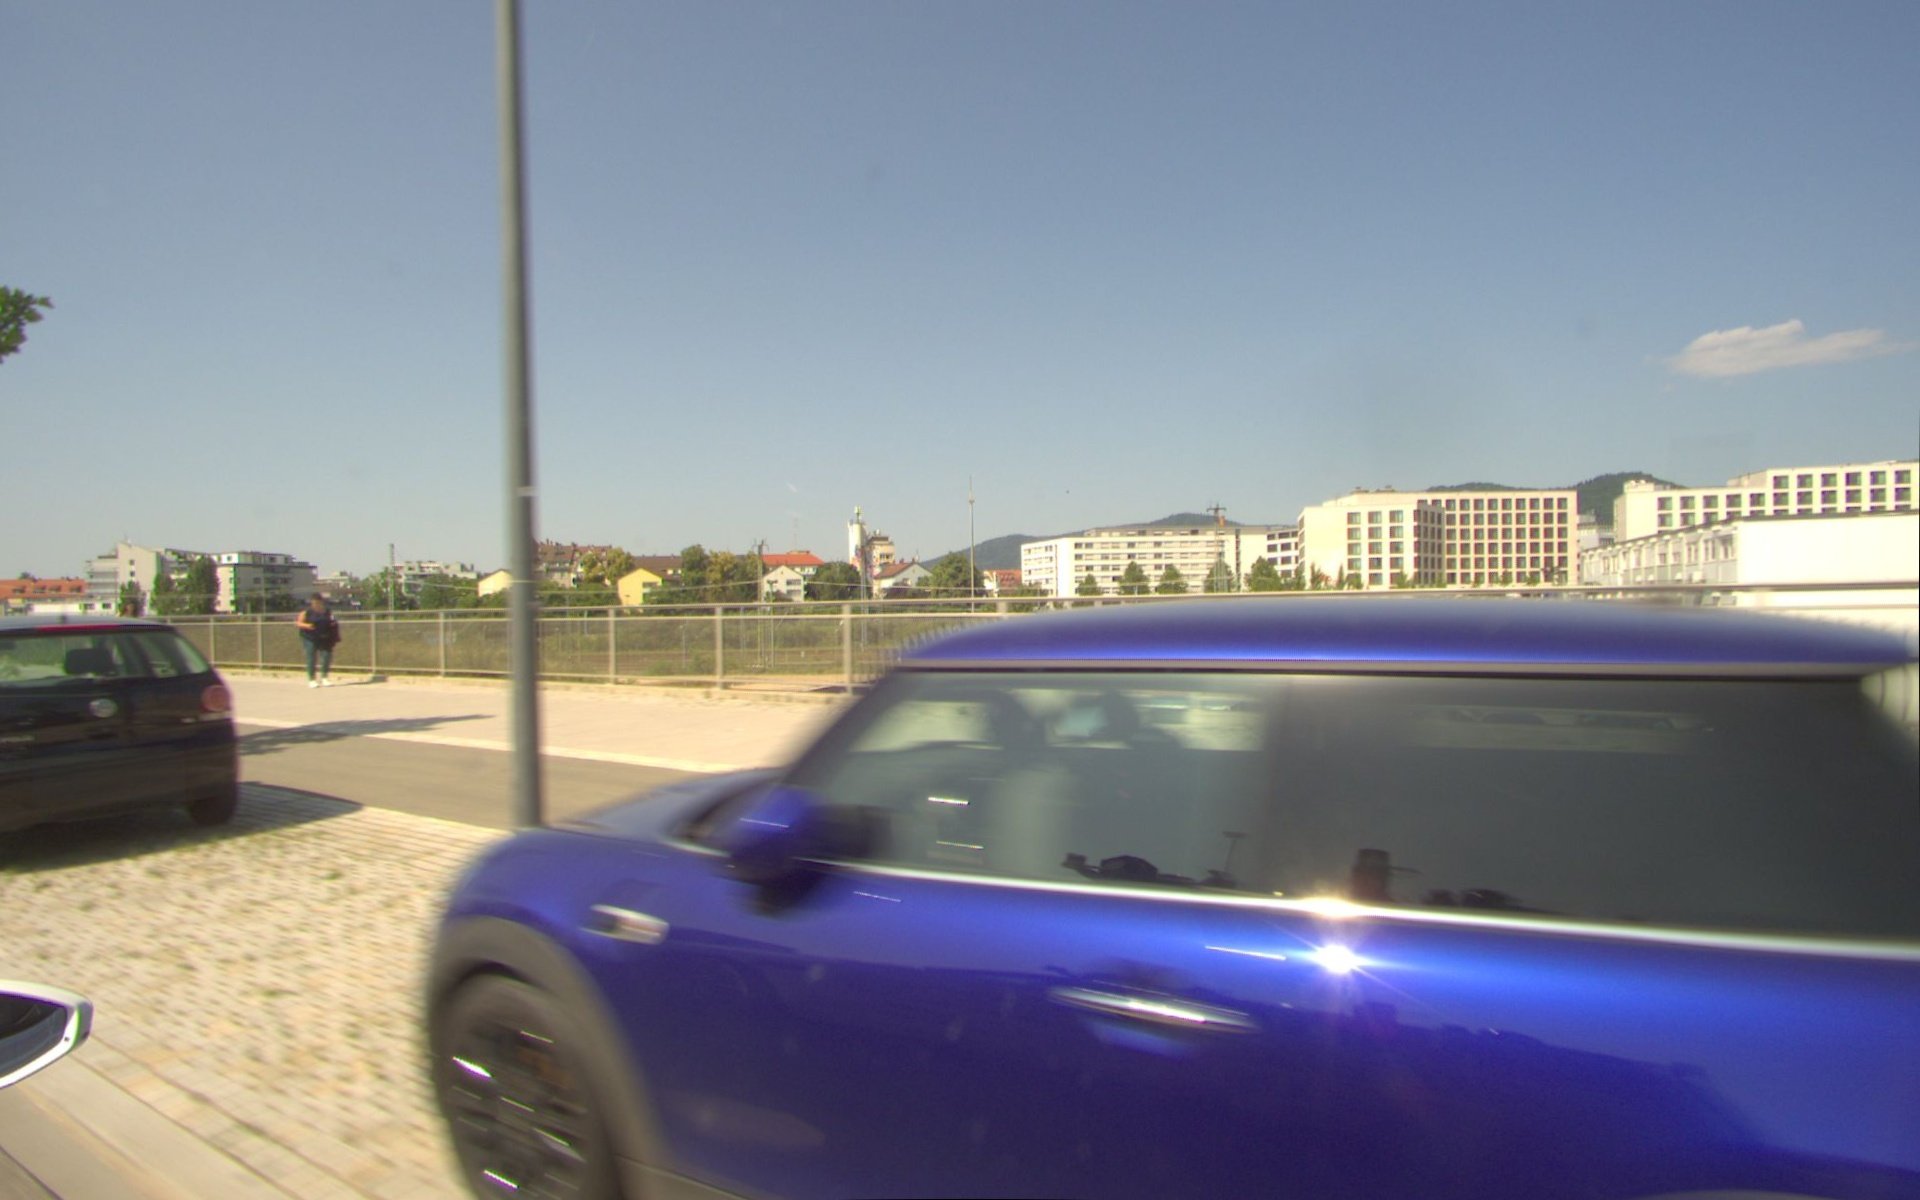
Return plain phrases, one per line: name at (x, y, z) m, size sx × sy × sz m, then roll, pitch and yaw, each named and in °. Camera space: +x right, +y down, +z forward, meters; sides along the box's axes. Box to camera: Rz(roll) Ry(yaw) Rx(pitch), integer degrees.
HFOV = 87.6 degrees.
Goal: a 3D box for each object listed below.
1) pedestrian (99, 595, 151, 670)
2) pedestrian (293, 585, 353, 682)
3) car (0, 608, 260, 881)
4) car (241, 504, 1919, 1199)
pedestrian at (-19.658, 0.762, 23.578) m, size 0.731 × 1.727 × 0.779 m, roll 0°, pitch 0°, yaw 33°
pedestrian at (-11.586, 0.617, 18.210) m, size 0.642 × 1.727 × 0.730 m, roll -2°, pitch -2°, yaw 33°
car at (-6.643, 0.818, 6.995) m, size 3.770 × 1.498 × 1.616 m, roll 0°, pitch 0°, yaw 34°
car at (0.109, 0.659, 2.612) m, size 4.100 × 1.499 × 1.903 m, roll 0°, pitch 1°, yaw 34°
